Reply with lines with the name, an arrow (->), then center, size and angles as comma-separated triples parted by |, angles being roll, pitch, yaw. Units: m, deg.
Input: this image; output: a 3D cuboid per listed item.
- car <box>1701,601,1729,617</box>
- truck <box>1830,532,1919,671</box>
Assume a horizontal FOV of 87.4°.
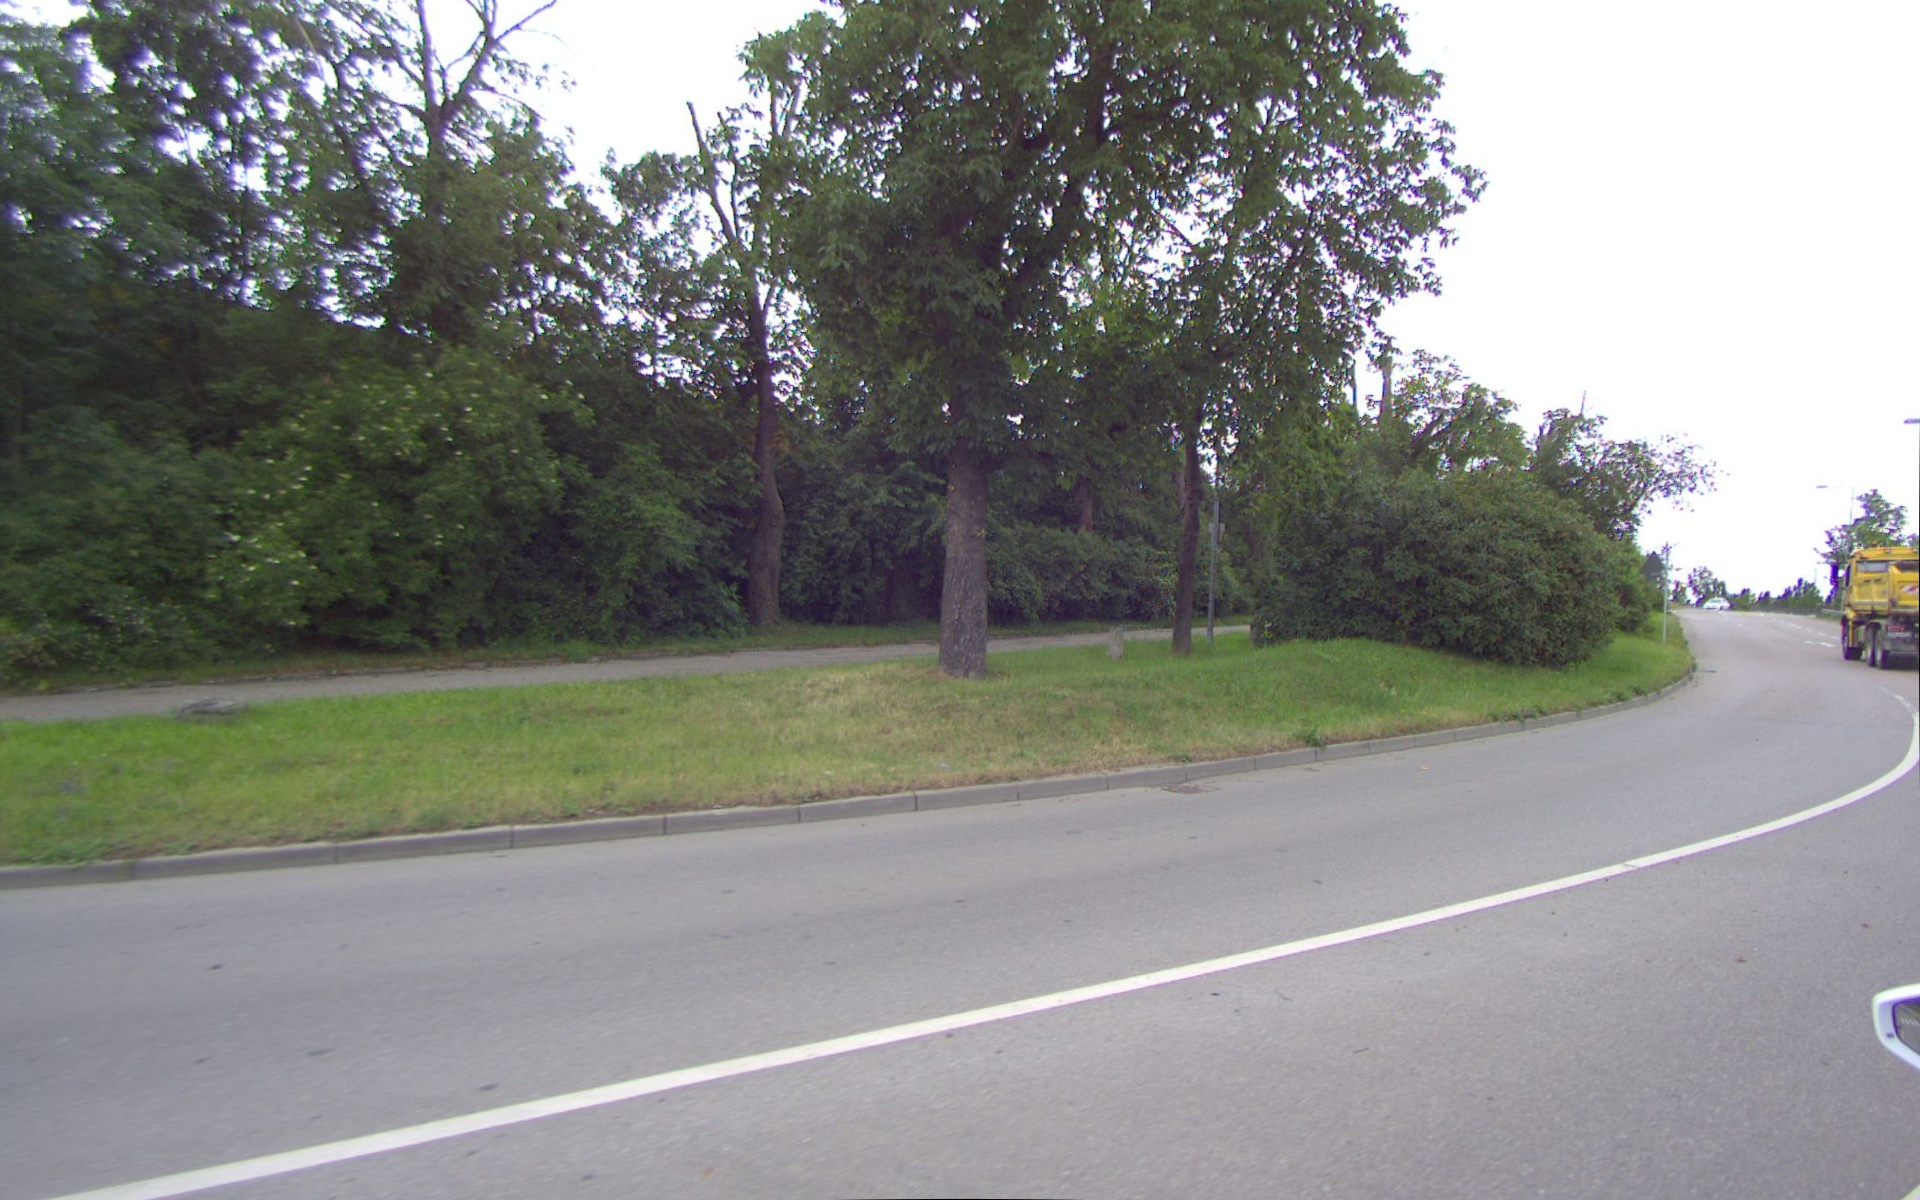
car -> 86.050, 1.063, 114.489 | 1.973, 1.662, 3.975 | 3, 2, 44
truck -> 27.103, 0.030, 28.501 | 2.728, 3.530, 8.102 | 1, 1, 35
